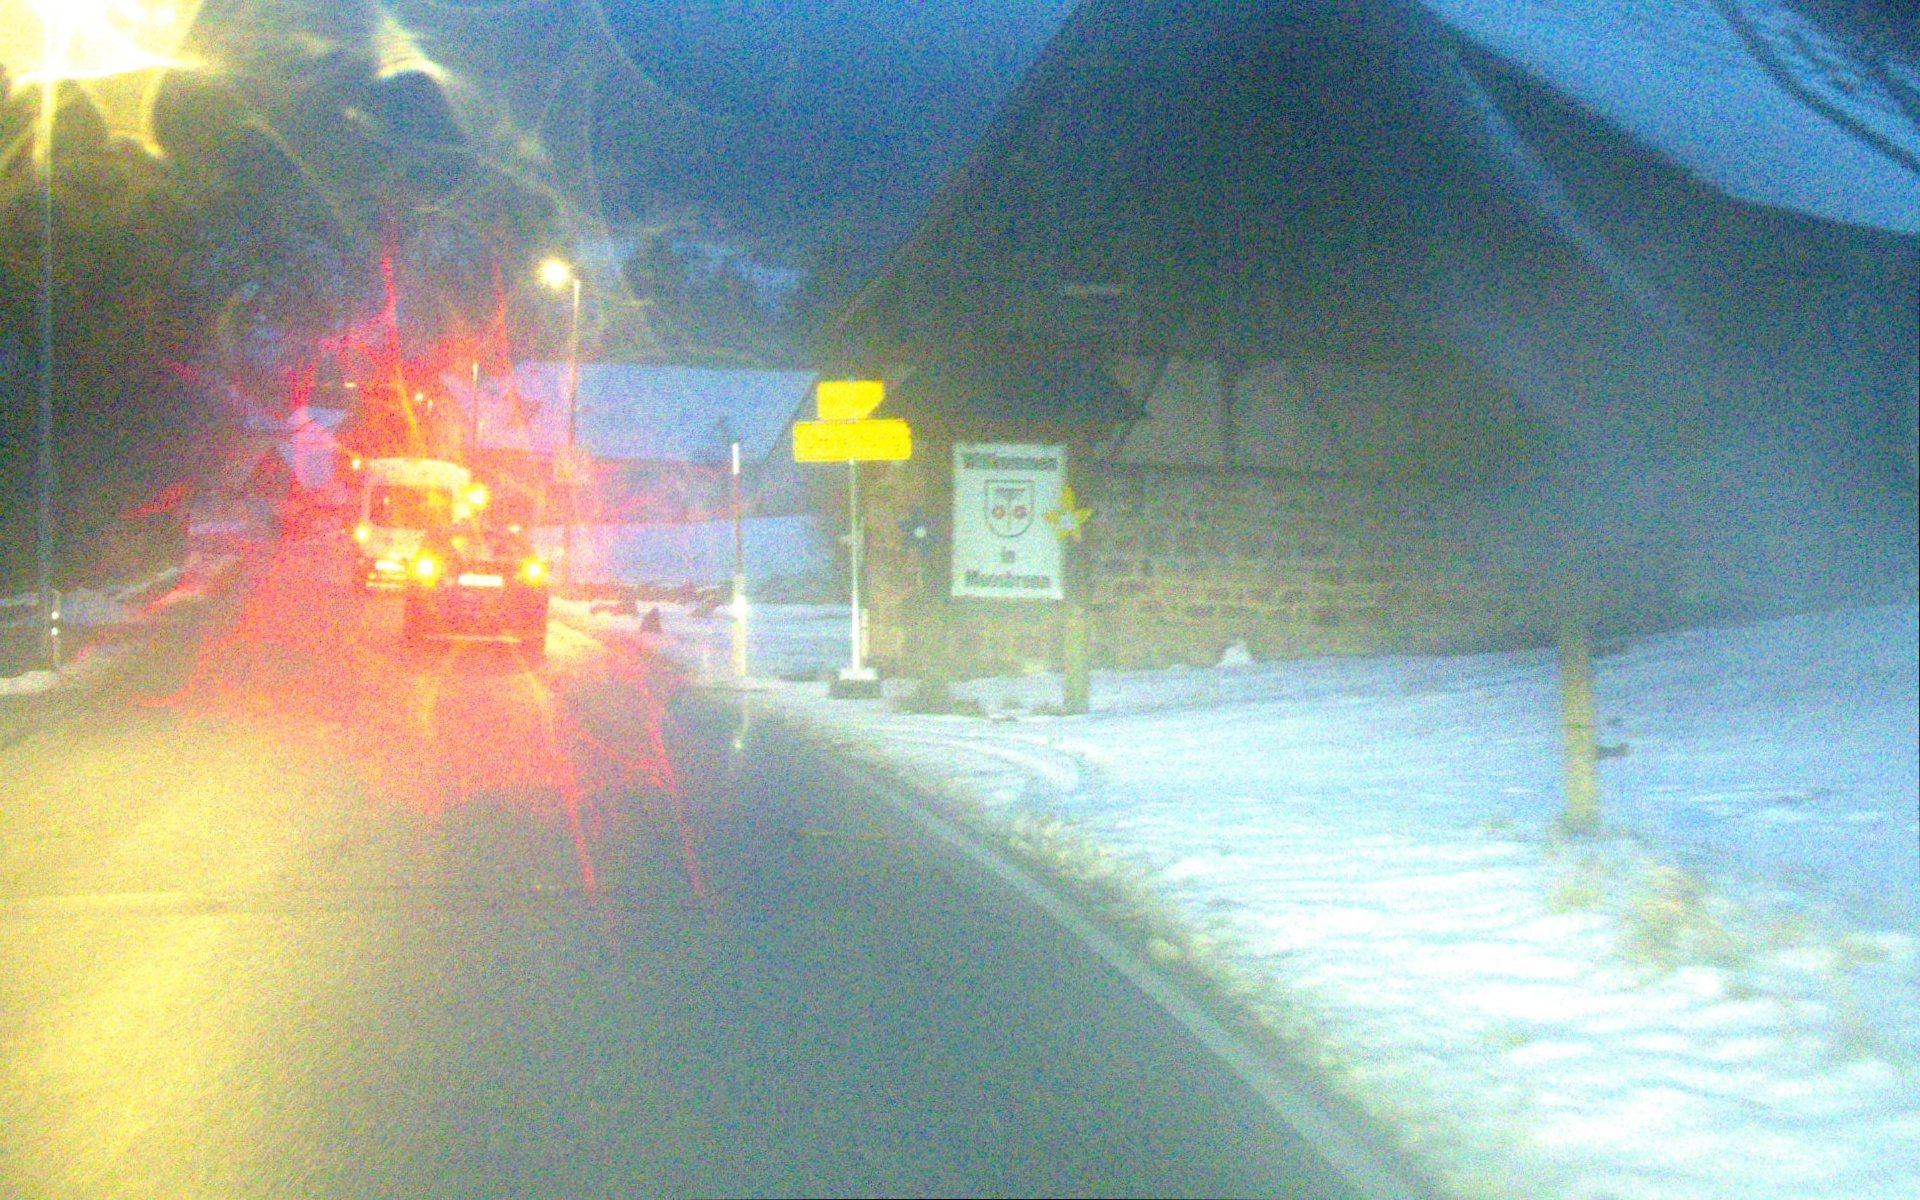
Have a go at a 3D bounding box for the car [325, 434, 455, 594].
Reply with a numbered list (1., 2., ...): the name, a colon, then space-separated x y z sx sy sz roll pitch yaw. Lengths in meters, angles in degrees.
1. car: -11.311 -1.641 68.379 2.434 3.008 5.326 0 0 -9

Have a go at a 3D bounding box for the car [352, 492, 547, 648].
1. car: -6.429 -0.424 43.111 2.273 1.834 5.008 0 2 -9
